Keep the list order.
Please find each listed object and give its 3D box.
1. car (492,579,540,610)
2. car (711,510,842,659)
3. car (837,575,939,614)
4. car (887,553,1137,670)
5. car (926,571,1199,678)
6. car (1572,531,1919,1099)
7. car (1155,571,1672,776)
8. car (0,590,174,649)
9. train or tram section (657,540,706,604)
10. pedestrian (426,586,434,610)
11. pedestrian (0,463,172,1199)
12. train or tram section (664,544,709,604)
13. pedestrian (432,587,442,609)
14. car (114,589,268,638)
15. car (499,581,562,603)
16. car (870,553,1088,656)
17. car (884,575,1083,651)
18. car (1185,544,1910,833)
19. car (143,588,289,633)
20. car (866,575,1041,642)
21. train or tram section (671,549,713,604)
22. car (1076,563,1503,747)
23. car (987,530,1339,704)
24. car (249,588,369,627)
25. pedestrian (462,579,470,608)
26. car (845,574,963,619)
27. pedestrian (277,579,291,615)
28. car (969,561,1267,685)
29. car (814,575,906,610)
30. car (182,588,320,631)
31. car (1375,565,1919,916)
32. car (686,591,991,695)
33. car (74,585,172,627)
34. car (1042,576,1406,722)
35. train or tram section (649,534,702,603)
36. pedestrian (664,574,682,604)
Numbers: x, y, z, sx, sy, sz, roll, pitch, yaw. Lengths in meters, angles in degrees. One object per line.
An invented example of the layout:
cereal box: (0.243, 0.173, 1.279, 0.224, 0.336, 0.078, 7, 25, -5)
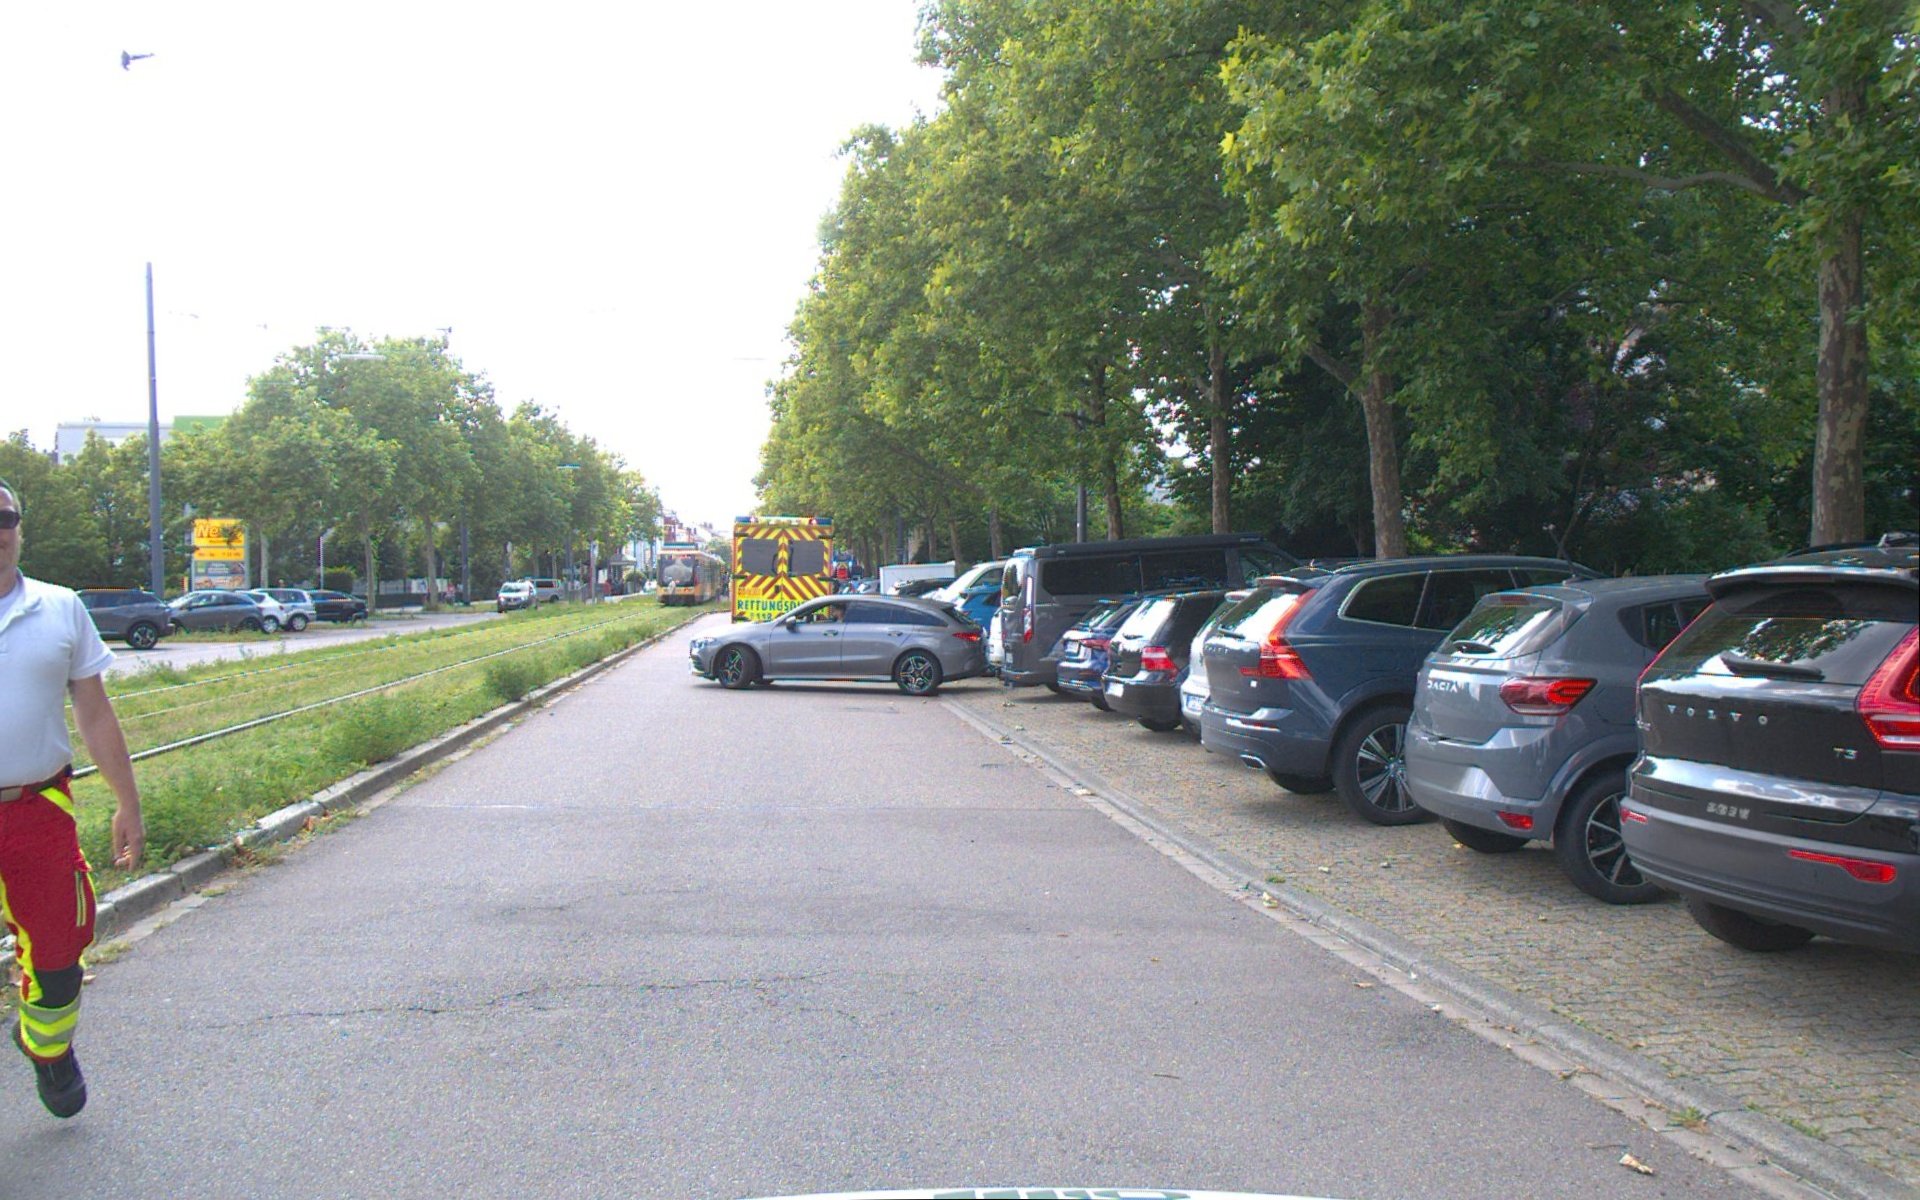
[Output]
car: (-24.926, -0.329, 92.962, 1.956, 1.585, 4.363, -2, 1, -8)
car: (-4.100, -0.337, 37.645, 2.590, 3.018, 6.293, 2, 0, -5)
car: (-3.320, -0.247, 75.986, 4.464, 1.636, 1.851, -2, 1, -11)
car: (0.961, 0.184, 31.608, 4.464, 2.035, 1.851, -2, 1, -11)
car: (1.768, 0.399, 29.156, 4.465, 1.689, 1.851, -2, 1, -12)
car: (4.863, 0.546, 6.128, 4.575, 1.654, 1.843, -2, 1, -11)
car: (3.793, 0.566, 14.170, 3.891, 1.520, 1.753, -2, 1, -8)
car: (-23.143, 0.492, 43.642, 4.180, 1.508, 1.863, 0, 0, -32)
train or tram section: (-16.849, -1.650, 100.383, 2.464, 3.646, 7.433, -2, 0, -7)
pedestrian: (-33.721, -0.113, 105.239, 0.414, 1.499, 0.466, -1, 0, -11)
pedestrian: (-2.414, 0.542, 4.116, 0.794, 1.716, 0.843, 0, 0, -28)
train or tram section: (-17.742, -1.623, 107.763, 2.464, 3.646, 7.433, -2, 0, -7)
pedestrian: (-33.846, -0.141, 107.096, 0.412, 1.439, 0.468, -1, 0, 18)
car: (-24.894, 0.418, 53.626, 4.200, 1.508, 1.854, 0, 0, -43)
car: (-34.174, -0.676, 131.629, 1.851, 1.661, 4.596, 0, 1, 44)
car: (0.386, 0.077, 36.159, 4.464, 2.079, 1.851, -2, 1, -11)
car: (0.537, 0.289, 39.672, 4.464, 1.636, 1.851, -2, 1, -11)
car: (3.849, 0.528, 11.249, 4.296, 1.668, 1.754, -2, 1, -5)
car: (-25.345, 0.347, 56.447, 4.200, 1.508, 1.854, 0, 0, -43)
car: (-0.200, 0.215, 44.769, 4.464, 1.636, 1.851, -2, 1, -11)
train or tram section: (-18.627, -1.596, 115.142, 2.464, 3.646, 7.433, -2, 0, -7)
car: (3.330, 0.496, 16.848, 3.903, 1.633, 1.748, -2, 1, -18)
car: (2.728, 0.199, 22.732, 4.460, 2.160, 1.853, -2, 1, -8)
car: (-26.585, 0.296, 67.637, 1.851, 1.508, 4.207, 0, 0, 43)
pedestrian: (-30.314, -0.422, 101.554, 0.414, 1.760, 0.466, -1, 0, -11)
car: (-2.248, -0.155, 66.207, 4.464, 1.636, 1.851, -2, 1, -11)
pedestrian: (-32.465, -0.144, 79.398, 0.457, 1.706, 0.602, -1, 0, -9)
car: (2.496, 0.344, 26.697, 4.460, 1.797, 1.853, -2, 1, -8)
car: (-5.094, -0.367, 84.053, 4.464, 1.636, 1.851, -2, 1, -11)
car: (-25.484, 0.337, 59.517, 4.200, 1.508, 1.854, 0, 0, -43)
car: (4.556, 0.604, 8.621, 4.296, 1.527, 1.754, -2, 1, -5)
car: (-1.776, 0.623, 25.053, 4.360, 1.409, 1.768, 1, 0, 4)
car: (-38.272, 0.248, 75.619, 3.908, 1.780, 1.999, 2, 0, 25)
car: (3.051, 0.543, 19.509, 3.891, 1.520, 1.753, -2, 0, -8)
train or tram section: (-15.949, -1.677, 93.017, 2.464, 3.646, 7.433, -2, 0, -7)
pedestrian: (-15.338, -0.581, 88.433, 0.864, 1.552, 0.750, 1, -1, -7)
